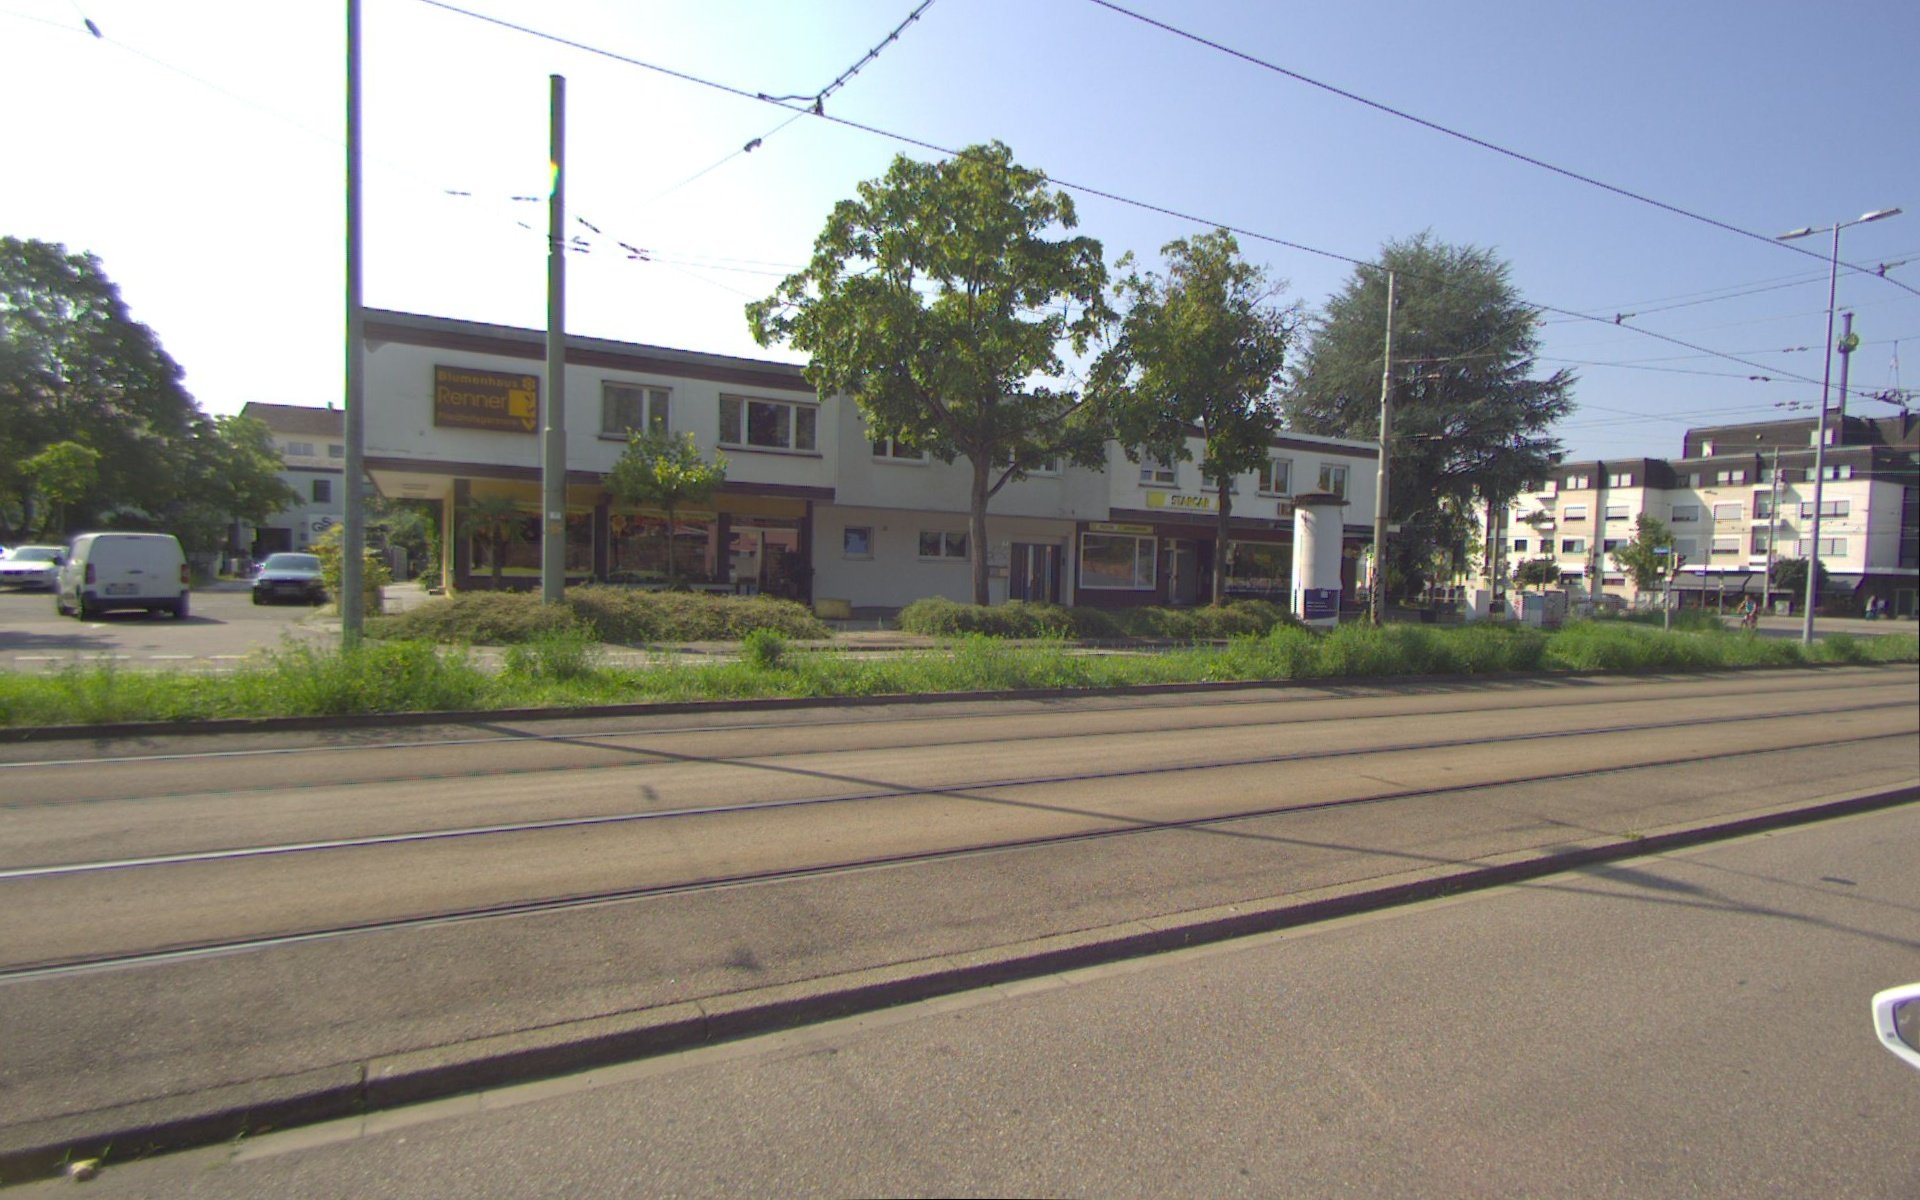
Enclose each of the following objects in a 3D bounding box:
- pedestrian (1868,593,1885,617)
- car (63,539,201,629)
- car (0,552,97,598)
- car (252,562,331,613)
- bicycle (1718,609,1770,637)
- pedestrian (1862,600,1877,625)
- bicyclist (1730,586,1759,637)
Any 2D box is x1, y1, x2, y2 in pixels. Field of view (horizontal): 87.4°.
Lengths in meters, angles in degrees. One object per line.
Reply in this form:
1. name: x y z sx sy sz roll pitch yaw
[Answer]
1. pedestrian: 67.163 0.366 73.625 0.689 1.764 0.677 1 1 -28
2. car: -18.332 -0.412 22.162 1.977 1.782 4.361 -2 3 -44
3. car: -28.892 -0.819 31.759 1.470 1.361 3.521 1 2 -24
4. car: -19.198 -0.399 28.967 1.595 1.361 3.894 0 2 -29
5. bicycle: 32.188 0.960 41.238 2.234 1.106 0.713 1 0 -25
6. pedestrian: 63.604 0.868 70.237 0.589 1.768 0.565 1 1 28
7. bicyclist: 32.218 0.463 41.253 0.764 2.092 0.635 1 1 -25
